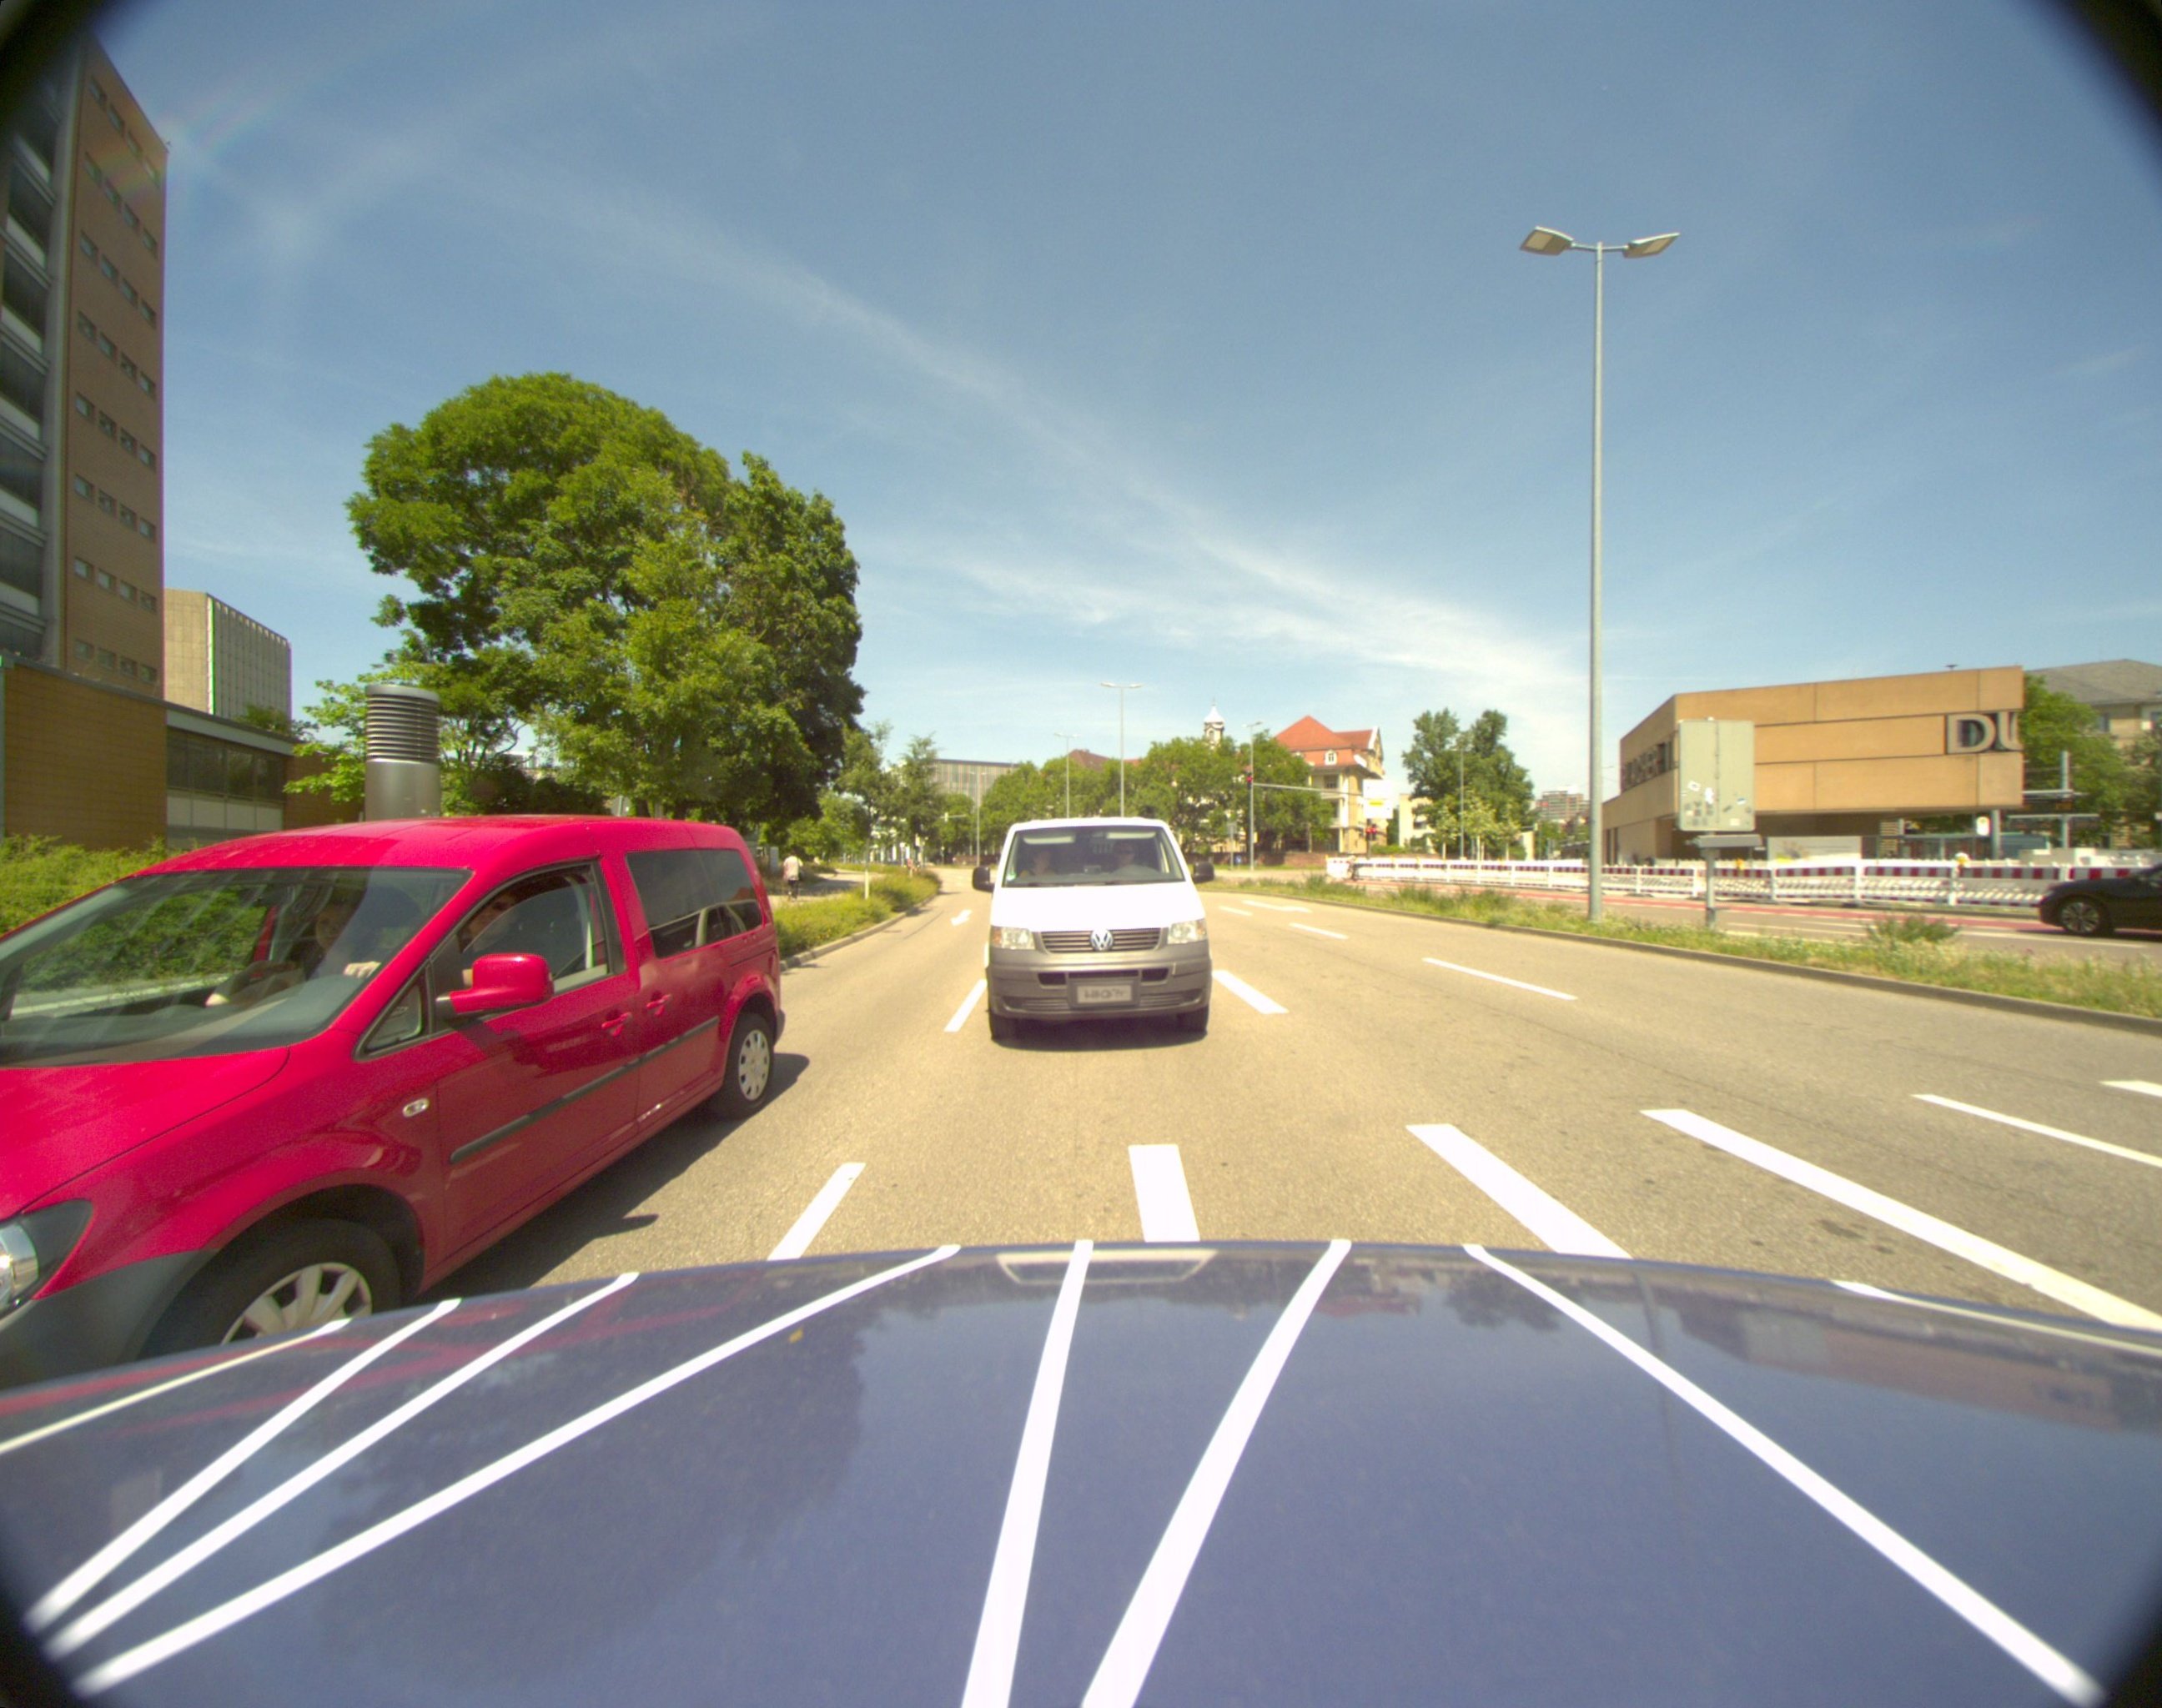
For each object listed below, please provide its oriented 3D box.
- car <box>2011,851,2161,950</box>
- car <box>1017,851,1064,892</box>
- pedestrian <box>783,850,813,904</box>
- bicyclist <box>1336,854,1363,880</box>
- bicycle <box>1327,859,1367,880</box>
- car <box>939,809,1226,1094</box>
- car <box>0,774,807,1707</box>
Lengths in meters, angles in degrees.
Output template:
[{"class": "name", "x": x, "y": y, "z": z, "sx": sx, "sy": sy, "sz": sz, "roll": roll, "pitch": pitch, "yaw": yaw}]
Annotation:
[{"class": "car", "x": 16.940, "y": 0.678, "z": 10.644, "sx": 1.998, "sy": 1.456, "sz": 4.847, "roll": 0, "pitch": 0, "yaw": 3}, {"class": "car", "x": -2.215, "y": 0.867, "z": 40.785, "sx": 2.000, "sy": 2.002, "sz": 3.996, "roll": -2, "pitch": 1, "yaw": -10}, {"class": "pedestrian", "x": -9.495, "y": 0.761, "z": 25.509, "sx": 0.728, "sy": 1.787, "sz": 0.614, "roll": 0, "pitch": 0, "yaw": 1}, {"class": "bicyclist", "x": 14.330, "y": 0.678, "z": 40.582, "sx": 0.587, "sy": 1.348, "sz": 1.438, "roll": -3, "pitch": 1, "yaw": -14}, {"class": "bicycle", "x": 14.204, "y": 0.813, "z": 40.633, "sx": 0.879, "sy": 1.066, "sz": 2.229, "roll": -2, "pitch": 1, "yaw": -14}, {"class": "car", "x": -0.026, "y": 0.685, "z": 7.820, "sx": 1.971, "sy": 1.958, "sz": 4.848, "roll": -2, "pitch": 0, "yaw": -1}, {"class": "car", "x": -2.831, "y": 0.790, "z": 3.146, "sx": 1.655, "sy": 1.848, "sz": 4.546, "roll": -1, "pitch": 0, "yaw": 1}]
